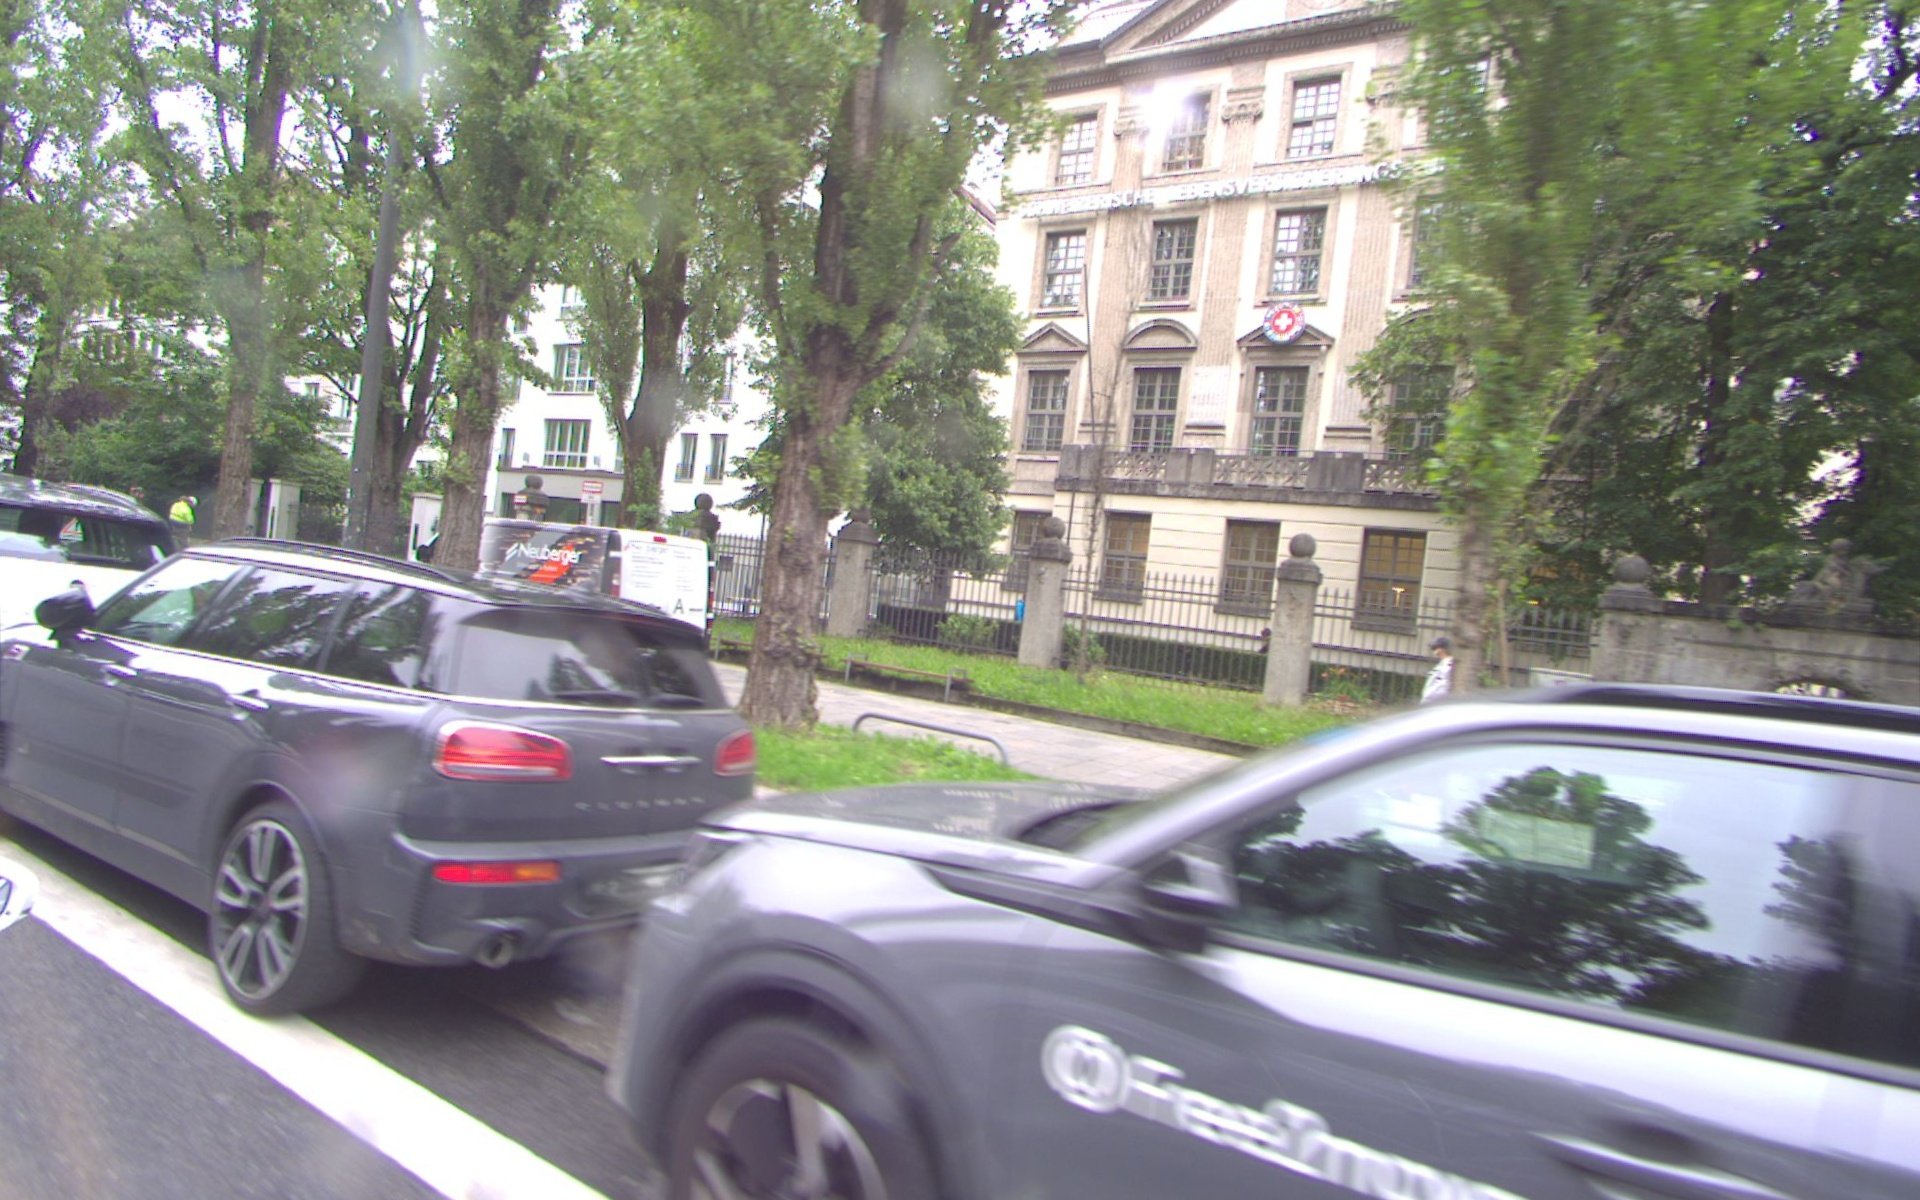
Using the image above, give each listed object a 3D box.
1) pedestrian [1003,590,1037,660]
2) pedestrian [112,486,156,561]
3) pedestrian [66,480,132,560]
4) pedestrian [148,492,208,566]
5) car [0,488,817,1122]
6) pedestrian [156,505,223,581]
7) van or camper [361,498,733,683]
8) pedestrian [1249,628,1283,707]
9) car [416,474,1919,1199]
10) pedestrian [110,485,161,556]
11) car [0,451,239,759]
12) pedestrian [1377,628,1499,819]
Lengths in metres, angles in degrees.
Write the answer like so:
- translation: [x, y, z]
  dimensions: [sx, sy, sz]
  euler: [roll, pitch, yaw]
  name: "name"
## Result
- translation: [1.696, 0.717, 28.492]
  dimensions: [0.592, 1.886, 0.638]
  euler: [7, 1, 22]
  name: "pedestrian"
- translation: [-21.779, -2.013, 26.532]
  dimensions: [0.626, 1.886, 0.488]
  euler: [7, 1, 14]
  name: "pedestrian"
- translation: [-20.090, -1.861, 23.481]
  dimensions: [0.853, 1.739, 0.854]
  euler: [7, 2, 30]
  name: "pedestrian"
- translation: [-20.531, -1.847, 26.421]
  dimensions: [0.805, 1.804, 0.802]
  euler: [7, 1, 14]
  name: "pedestrian"
- translation: [-2.900, 0.460, 4.482]
  dimensions: [4.223, 1.538, 1.705]
  euler: [7, 0, 31]
  name: "car"
- translation: [-20.182, -1.478, 26.360]
  dimensions: [0.814, 1.823, 0.904]
  euler: [9, 2, 10]
  name: "pedestrian"
- translation: [-6.032, -0.183, 14.478]
  dimensions: [5.279, 1.956, 2.080]
  euler: [7, -1, 31]
  name: "van or camper"
- translation: [7.636, 1.683, 25.090]
  dimensions: [0.495, 1.886, 0.637]
  euler: [7, 1, 29]
  name: "pedestrian"
- translation: [1.194, 0.823, 1.969]
  dimensions: [4.560, 1.638, 1.786]
  euler: [7, 0, 31]
  name: "car"
- translation: [-19.842, -1.913, 24.208]
  dimensions: [0.853, 1.598, 0.568]
  euler: [7, 1, 31]
  name: "pedestrian"
- translation: [-7.076, -0.183, 6.866]
  dimensions: [4.503, 1.696, 1.745]
  euler: [7, 0, 31]
  name: "car"
- translation: [4.978, 1.253, 10.471]
  dimensions: [0.880, 1.790, 0.796]
  euler: [7, 1, 32]
  name: "pedestrian"
